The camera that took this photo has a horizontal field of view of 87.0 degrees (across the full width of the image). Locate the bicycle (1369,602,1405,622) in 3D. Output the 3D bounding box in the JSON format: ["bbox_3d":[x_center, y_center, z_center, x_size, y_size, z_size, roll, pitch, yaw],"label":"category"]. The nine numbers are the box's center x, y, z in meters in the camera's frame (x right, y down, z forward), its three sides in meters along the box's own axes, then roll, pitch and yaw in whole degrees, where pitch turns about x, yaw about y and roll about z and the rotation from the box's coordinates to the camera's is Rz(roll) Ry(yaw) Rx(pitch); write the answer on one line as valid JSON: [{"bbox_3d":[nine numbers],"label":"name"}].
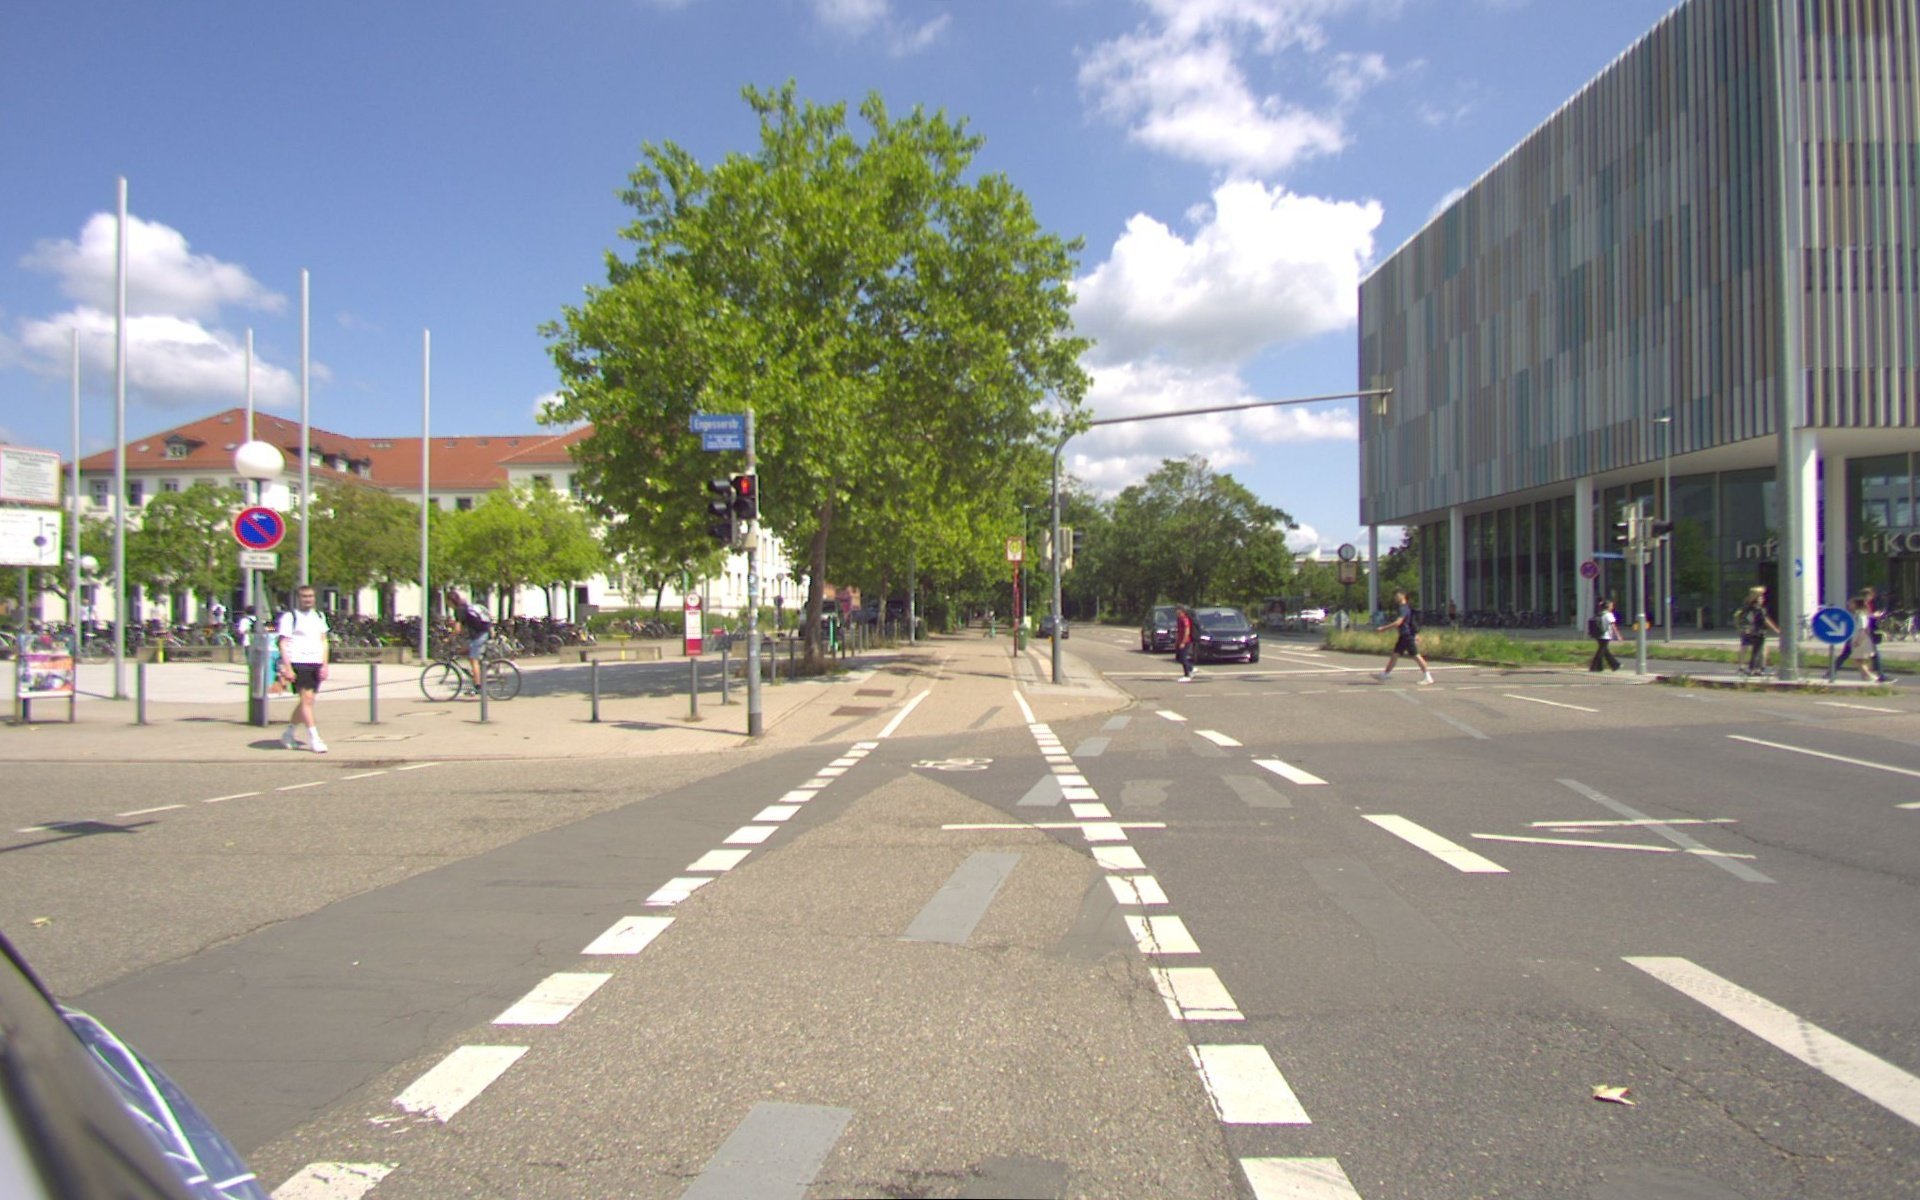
[{"bbox_3d":[33.489,0.962,79.350,2.481,1.506,0.620,-1,-1,5],"label":"bicycle"}]

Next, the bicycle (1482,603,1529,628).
[{"bbox_3d":[33.797,0.963,62.680,2.481,1.506,0.620,-1,-1,5],"label":"bicycle"}]

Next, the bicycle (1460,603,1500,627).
[{"bbox_3d":[33.349,0.968,64.920,2.174,1.506,0.620,-1,-1,5],"label":"bicycle"}]

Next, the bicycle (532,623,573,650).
[{"bbox_3d":[-14.970,1.345,37.221,1.352,0.958,0.352,-1,-1,-1],"label":"bicycle"}]

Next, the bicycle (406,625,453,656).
[{"bbox_3d":[-17.373,1.320,33.169,1.352,1.008,0.352,-1,-1,-1],"label":"bicycle"}]

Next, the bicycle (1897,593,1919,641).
[{"bbox_3d":[34.358,0.587,36.386,3.364,1.656,0.811,0,-1,-44],"label":"bicycle"}]

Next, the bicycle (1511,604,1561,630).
[{"bbox_3d":[33.080,0.974,58.144,2.422,1.506,0.620,-1,-1,5],"label":"bicycle"}]

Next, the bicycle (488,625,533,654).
[{"bbox_3d":[-15.117,1.315,34.055,1.352,0.958,0.352,-1,-1,-1],"label":"bicycle"}]

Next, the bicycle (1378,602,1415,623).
[{"bbox_3d":[33.531,0.963,77.710,2.481,1.506,0.620,-1,-1,5],"label":"bicycle"}]

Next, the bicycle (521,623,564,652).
[{"bbox_3d":[-14.587,1.307,35.335,1.352,0.958,0.352,-1,-1,-1],"label":"bicycle"}]

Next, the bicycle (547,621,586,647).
[{"bbox_3d":[-14.978,1.306,38.534,1.352,0.958,0.352,-1,-1,-1],"label":"bicycle"}]

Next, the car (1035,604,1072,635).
[{"bbox_3d":[5.637,1.173,61.346,1.887,1.796,3.999,-1,-1,0],"label":"car"}]

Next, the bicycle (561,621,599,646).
[{"bbox_3d":[-14.853,1.310,39.523,1.352,0.958,0.352,-1,-1,-1],"label":"bicycle"}]

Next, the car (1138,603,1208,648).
[{"bbox_3d":[7.852,0.923,37.612,1.822,1.549,3.997,-1,-1,2],"label":"car"}]

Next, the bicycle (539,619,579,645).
[{"bbox_3d":[-14.997,1.208,37.876,1.352,0.958,0.352,-1,-1,-1],"label":"bicycle"}]

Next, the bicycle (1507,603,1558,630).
[{"bbox_3d":[33.424,0.968,59.123,2.490,1.506,0.726,-1,-1,15],"label":"bicycle"}]

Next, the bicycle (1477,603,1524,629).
[{"bbox_3d":[33.011,0.973,61.846,2.481,1.506,0.620,-1,-1,5],"label":"bicycle"}]

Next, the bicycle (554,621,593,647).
[{"bbox_3d":[-14.893,1.310,39.029,1.352,0.958,0.352,-1,-1,-1],"label":"bicycle"}]

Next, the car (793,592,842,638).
[{"bbox_3d":[-6.601,0.699,47.236,1.970,2.070,4.233,-1,-1,-4],"label":"car"}]

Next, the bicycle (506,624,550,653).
[{"bbox_3d":[-14.781,1.310,34.642,1.352,0.958,0.352,-1,-1,-1],"label":"bicycle"}]

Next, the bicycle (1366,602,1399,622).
[{"bbox_3d":[33.662,0.960,80.625,2.275,1.506,0.656,-1,-1,5],"label":"bicycle"}]

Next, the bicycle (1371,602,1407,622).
[{"bbox_3d":[33.338,0.965,78.661,2.481,1.506,0.620,-1,-1,5],"label":"bicycle"}]

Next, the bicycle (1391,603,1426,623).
[{"bbox_3d":[33.699,0.960,75.998,2.302,1.506,0.620,-1,-1,5],"label":"bicycle"}]

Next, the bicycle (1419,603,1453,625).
[{"bbox_3d":[33.513,0.964,71.257,2.046,1.506,0.620,-1,-1,5],"label":"bicycle"}]

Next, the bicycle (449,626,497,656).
[{"bbox_3d":[-15.659,1.322,32.542,1.352,0.954,0.352,-1,-1,-1],"label":"bicycle"}]

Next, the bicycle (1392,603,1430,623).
[{"bbox_3d":[33.419,0.964,74.950,2.481,1.506,0.620,-1,-1,5],"label":"bicycle"}]

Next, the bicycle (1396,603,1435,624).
[{"bbox_3d":[33.260,0.967,73.848,2.481,1.506,0.620,-1,-1,5],"label":"bicycle"}]

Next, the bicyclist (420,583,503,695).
[{"bbox_3d":[-8.529,0.663,17.351,1.074,1.868,0.683,-1,0,5],"label":"bicyclist"}]

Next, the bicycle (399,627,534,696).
[{"bbox_3d":[-8.433,1.047,17.338,2.028,1.143,0.689,-1,-1,5],"label":"bicycle"}]

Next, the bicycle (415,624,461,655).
[{"bbox_3d":[-17.372,1.312,33.678,1.352,1.008,0.352,-1,-1,-1],"label":"bicycle"}]

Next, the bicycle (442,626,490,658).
[{"bbox_3d":[-15.589,1.325,31.967,1.352,0.958,0.352,-1,-1,-1],"label":"bicycle"}]

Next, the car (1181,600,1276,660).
[{"bbox_3d":[7.795,0.846,29.757,1.822,1.614,3.997,-1,-1,2],"label":"car"}]
